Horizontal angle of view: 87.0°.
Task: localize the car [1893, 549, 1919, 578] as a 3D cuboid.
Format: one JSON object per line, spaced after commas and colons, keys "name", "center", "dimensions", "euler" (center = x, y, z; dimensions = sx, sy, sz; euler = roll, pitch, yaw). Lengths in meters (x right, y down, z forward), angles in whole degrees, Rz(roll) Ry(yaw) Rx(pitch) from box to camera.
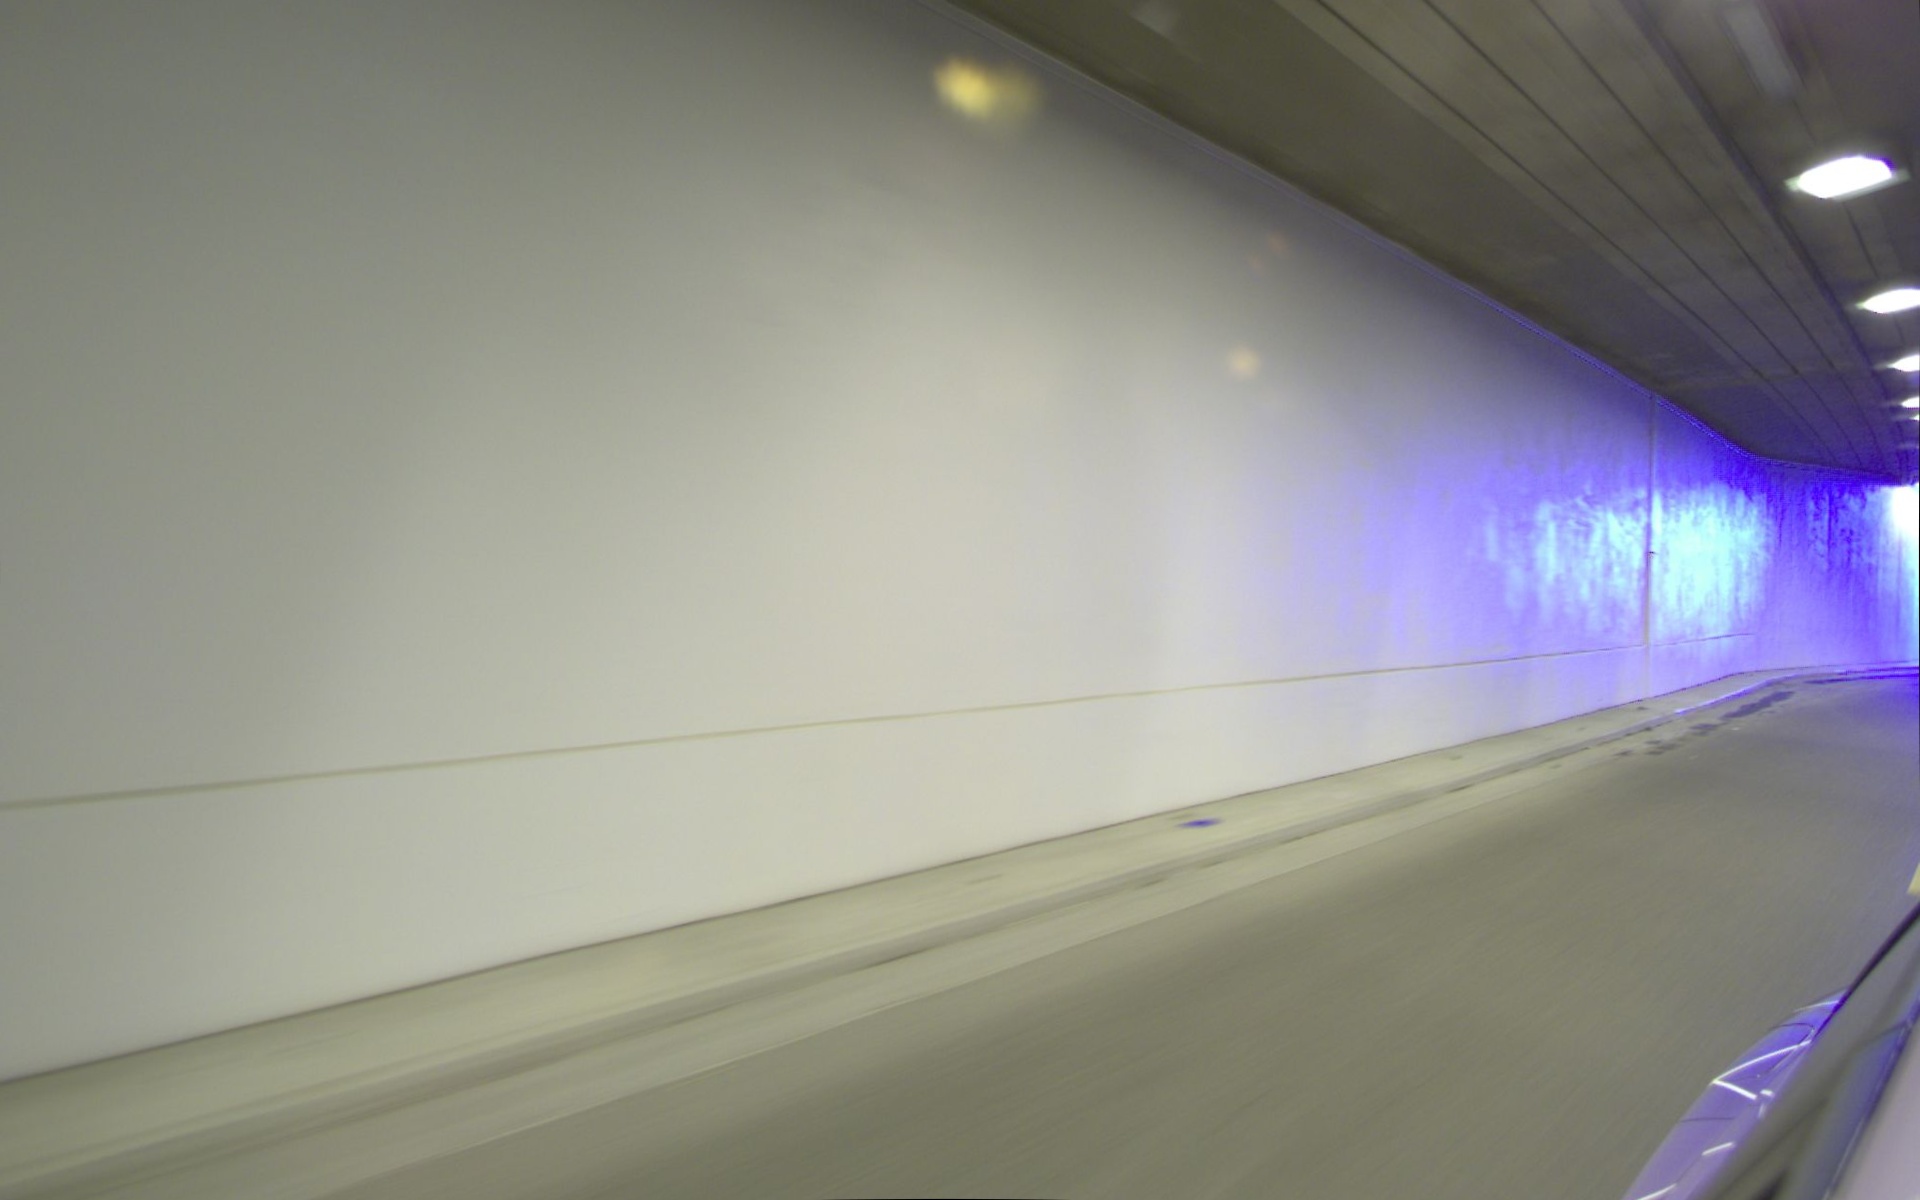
{"name": "car", "center": [70.146, -2.663, 74.379], "dimensions": [3.930, 2.039, 1.891], "euler": [-1, 0, -41]}
